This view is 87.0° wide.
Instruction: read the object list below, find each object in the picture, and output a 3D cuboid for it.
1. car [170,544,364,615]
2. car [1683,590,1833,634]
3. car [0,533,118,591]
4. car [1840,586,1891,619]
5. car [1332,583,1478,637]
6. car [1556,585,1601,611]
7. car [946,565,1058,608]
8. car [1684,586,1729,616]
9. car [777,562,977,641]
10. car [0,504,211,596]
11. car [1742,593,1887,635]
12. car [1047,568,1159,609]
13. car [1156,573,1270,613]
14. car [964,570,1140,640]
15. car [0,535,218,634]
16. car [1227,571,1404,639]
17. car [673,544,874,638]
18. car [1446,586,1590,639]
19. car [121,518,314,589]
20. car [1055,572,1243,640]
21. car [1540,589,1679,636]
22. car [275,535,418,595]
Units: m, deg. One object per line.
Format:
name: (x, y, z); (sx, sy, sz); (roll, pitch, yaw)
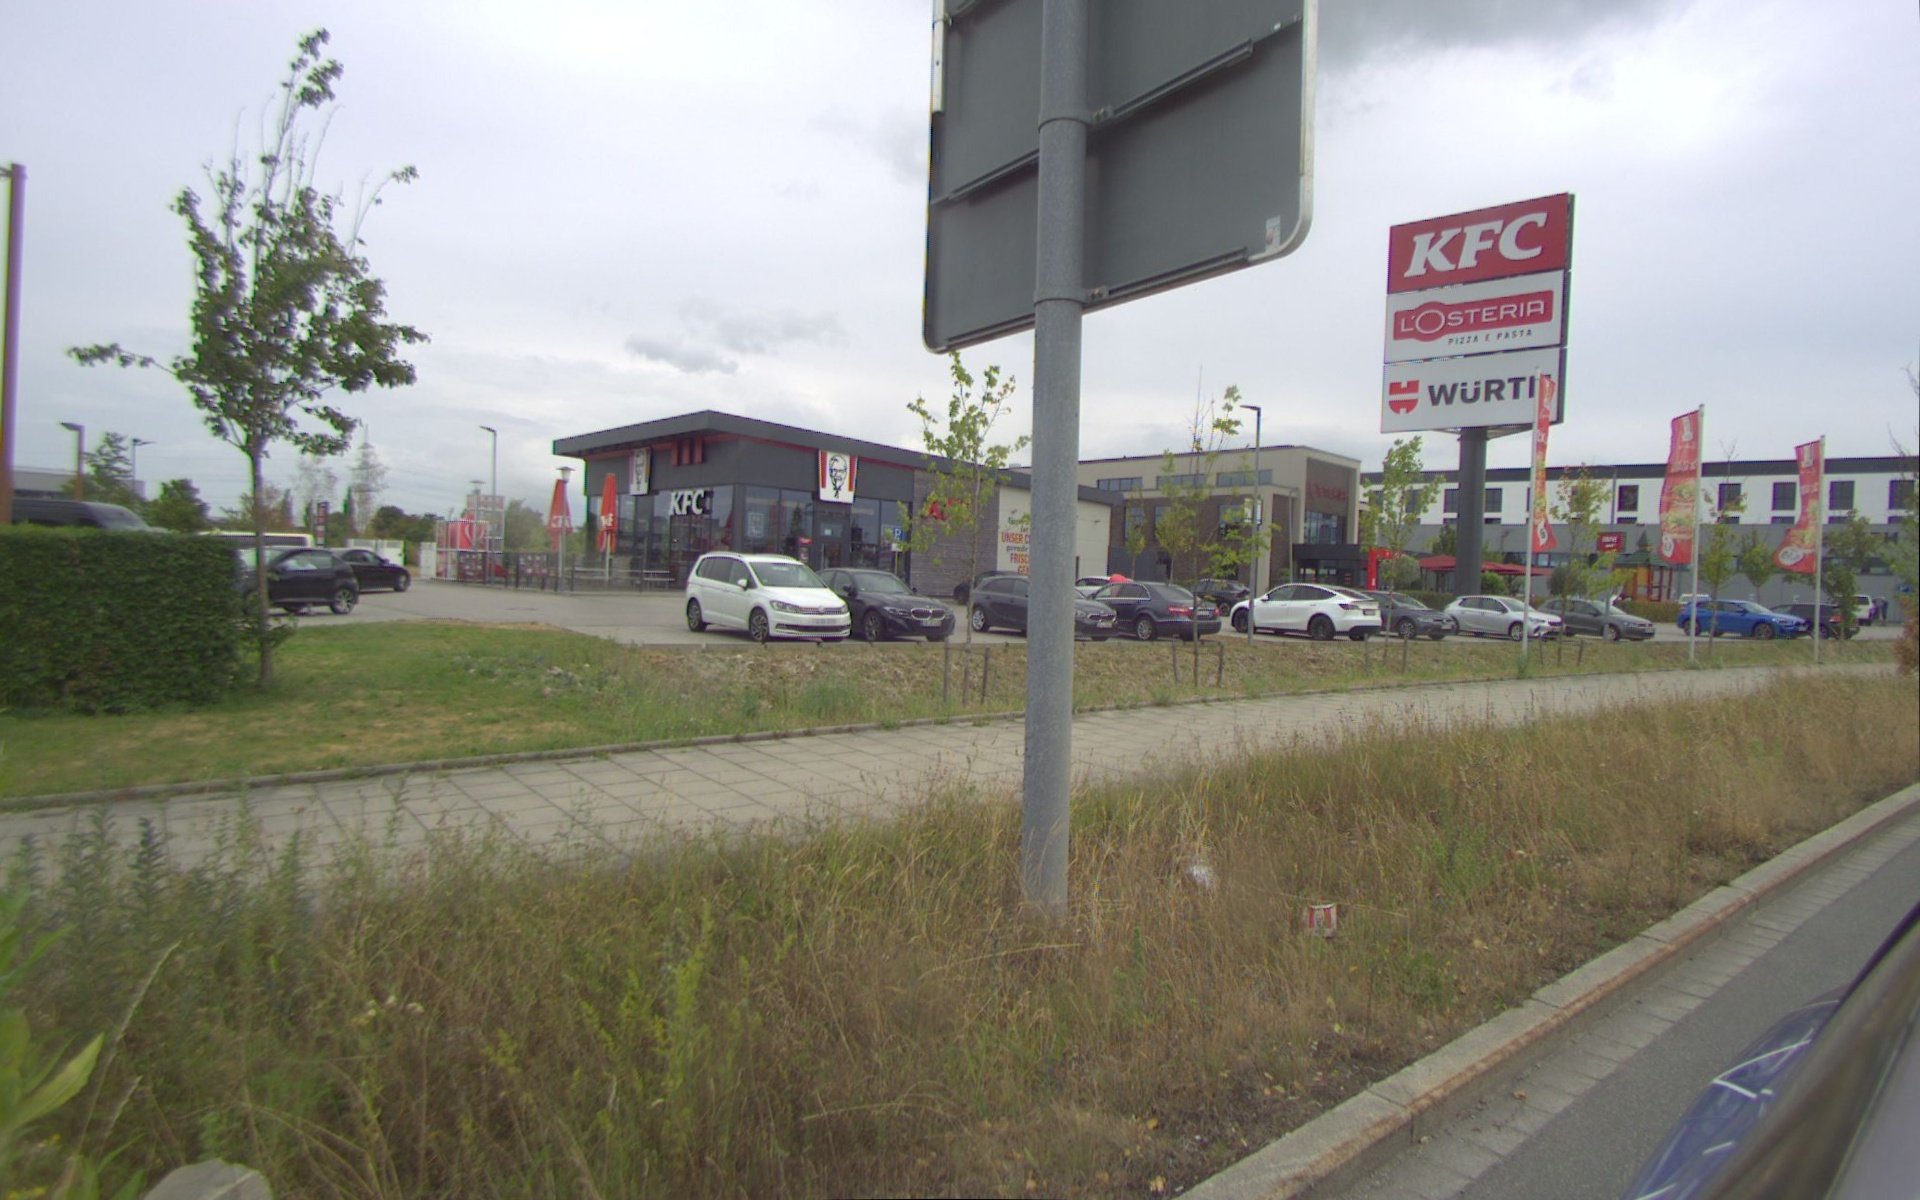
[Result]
car: (-14.103, -0.417, 20.768); (1.503, 1.326, 3.078); (1, 1, 13)
car: (31.803, 0.456, 40.480); (1.924, 1.539, 4.286); (1, 1, -22)
car: (-25.872, -1.064, 27.620); (4.138, 1.461, 1.957); (2, 1, -1)
car: (59.009, 0.151, 66.036); (1.988, 2.012, 4.575); (2, 1, 36)
car: (14.310, 0.280, 32.760); (1.901, 1.503, 4.007); (0, 2, -28)
car: (40.818, -0.127, 66.758); (1.976, 1.649, 4.265); (2, 1, 39)
car: (1.651, -0.577, 41.056); (2.013, 1.537, 4.370); (1, 3, -43)
car: (45.930, 0.086, 62.247); (1.991, 1.718, 4.724); (2, 1, 39)
car: (-1.873, -0.029, 21.585); (2.037, 1.454, 4.478); (1, 2, -39)
car: (-27.213, -1.522, 30.714); (7.186, 2.533, 2.283); (2, 1, -1)
car: (34.383, 0.532, 40.846); (1.940, 1.512, 4.009); (1, 1, -20)
car: (6.148, -0.524, 43.906); (2.044, 1.537, 4.571); (1, 3, -41)
car: (11.253, -0.353, 45.234); (1.944, 1.537, 4.569); (1, 3, -43)
car: (2.131, 0.075, 24.340); (1.907, 1.456, 4.095); (1, 2, -38)
car: (-13.705, -0.271, 15.157); (3.773, 1.329, 1.819); (2, 1, -4)
car: (10.332, 0.083, 29.750); (2.047, 1.665, 4.582); (1, 3, -32)
car: (-3.787, -0.238, 20.017); (1.904, 1.660, 4.355); (1, 2, -42)
car: (18.861, 0.391, 34.388); (1.863, 1.499, 3.882); (1, 3, -26)
car: (-27.949, -1.713, 38.431); (5.576, 2.380, 2.539); (1, 1, -29)
car: (4.698, 0.104, 25.728); (1.994, 1.487, 4.532); (1, 1, -36)
car: (23.188, 0.424, 36.261); (1.850, 1.512, 3.778); (1, 1, -25)
car: (-19.520, -1.170, 32.449); (1.968, 1.723, 4.380); (2, 3, -1)
